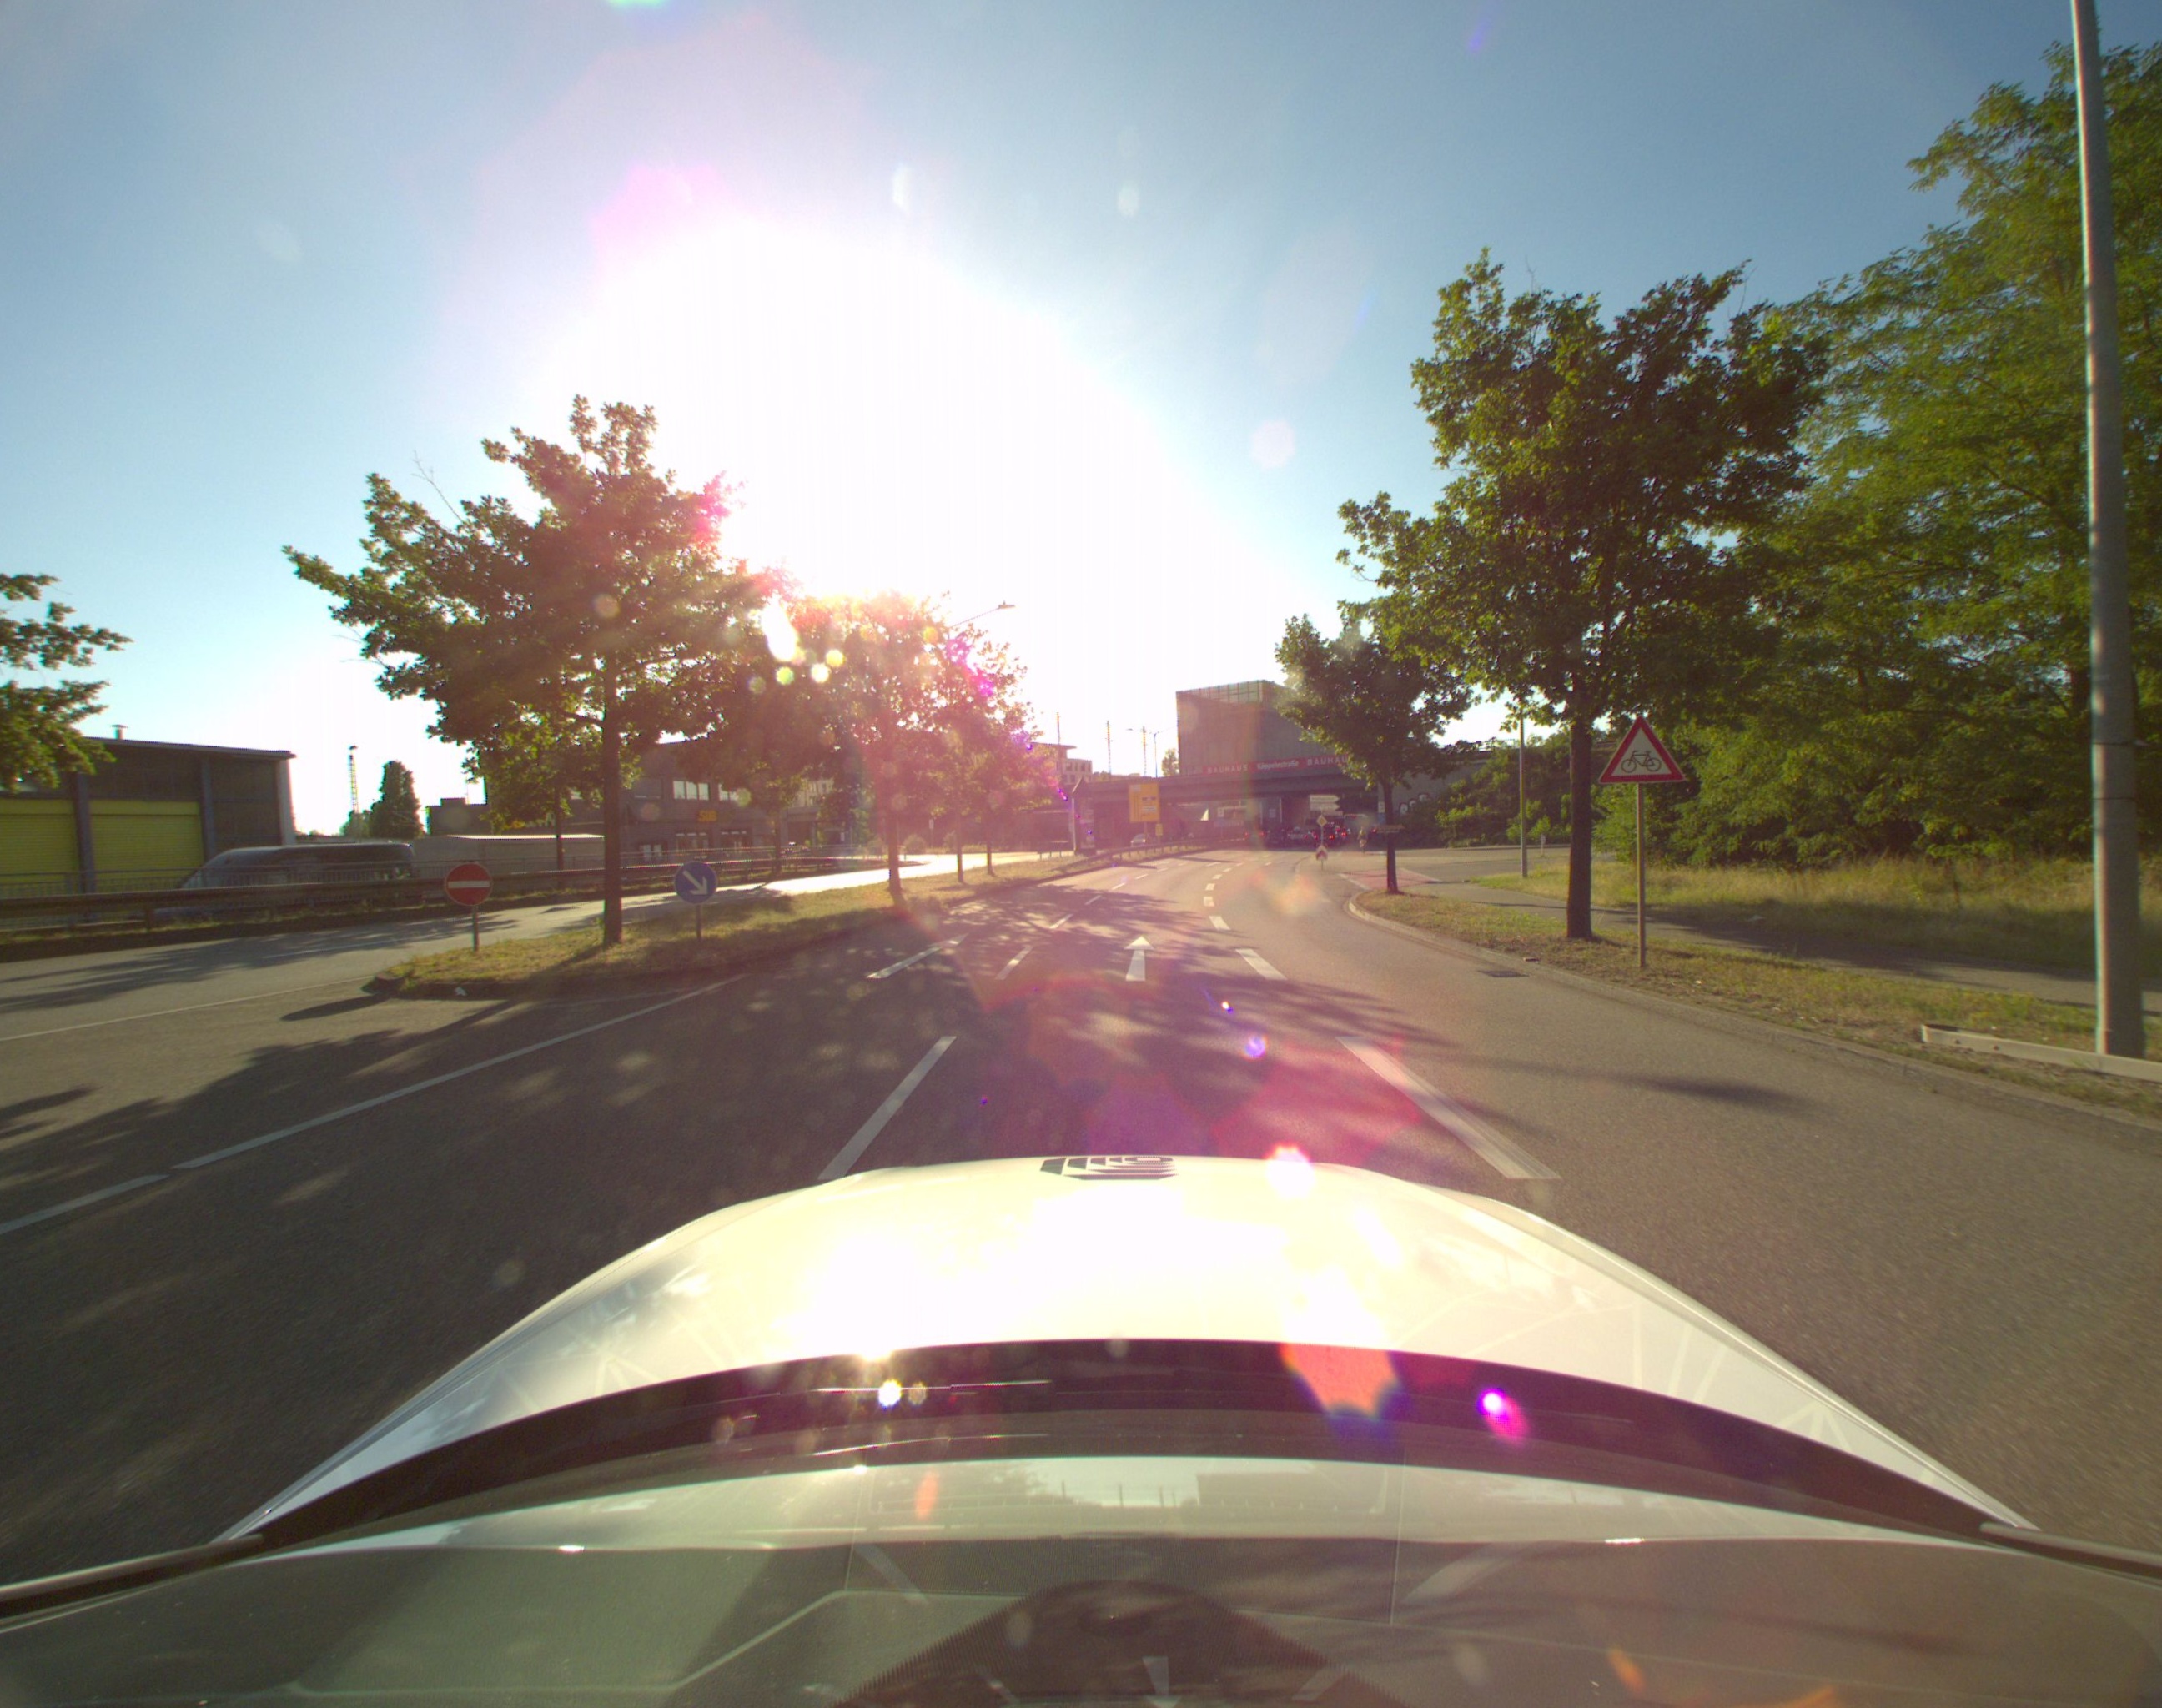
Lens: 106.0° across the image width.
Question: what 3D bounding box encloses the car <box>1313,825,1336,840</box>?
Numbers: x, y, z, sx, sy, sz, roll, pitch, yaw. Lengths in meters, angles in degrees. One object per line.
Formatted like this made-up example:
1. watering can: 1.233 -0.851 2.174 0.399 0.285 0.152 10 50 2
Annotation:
1. car: 26.357 -2.317 88.008 1.566 1.532 3.856 0 2 30

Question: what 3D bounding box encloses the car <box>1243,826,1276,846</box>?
1. car: 16.579 -1.664 75.483 1.812 1.738 4.489 -1 1 27

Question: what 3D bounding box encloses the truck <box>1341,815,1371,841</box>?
1. truck: 28.521 -2.697 84.334 2.091 2.519 4.428 -2 0 28

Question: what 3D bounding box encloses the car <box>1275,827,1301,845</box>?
1. car: 22.126 -1.921 86.944 1.824 1.719 4.023 -5 0 25

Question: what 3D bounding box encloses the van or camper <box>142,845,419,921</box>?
1. van or camper: -20.480 0.640 21.246 1.983 1.685 4.969 -1 1 6

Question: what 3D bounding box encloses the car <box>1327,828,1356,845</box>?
1. car: 24.764 -1.708 77.381 1.755 1.495 3.856 -2 1 29

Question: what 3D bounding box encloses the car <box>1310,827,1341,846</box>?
1. car: 21.232 -1.524 70.612 1.724 1.454 4.635 0 3 27

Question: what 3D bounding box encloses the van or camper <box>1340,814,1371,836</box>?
1. van or camper: 33.234 -3.486 98.420 1.974 2.570 5.956 -1 2 34

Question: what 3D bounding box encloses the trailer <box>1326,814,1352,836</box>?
1. trailer: 29.762 -3.328 93.891 1.846 2.464 3.857 -2 1 31

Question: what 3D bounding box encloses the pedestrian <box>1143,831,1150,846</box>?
1. pedestrian: 8.360 -1.973 103.836 0.687 1.903 0.669 -1 1 32

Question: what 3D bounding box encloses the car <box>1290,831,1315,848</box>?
1. car: 20.830 -1.400 76.526 1.533 1.423 3.438 -4 1 26

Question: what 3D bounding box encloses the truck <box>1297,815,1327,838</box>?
1. truck: 26.462 -3.130 93.180 2.008 2.556 5.573 -1 1 30

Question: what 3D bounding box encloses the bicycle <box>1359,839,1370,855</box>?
1. bicycle: 18.565 -0.451 53.311 0.574 0.963 2.900 -1 1 17

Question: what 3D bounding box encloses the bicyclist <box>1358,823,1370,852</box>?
1. bicyclist: 18.567 -1.072 53.386 0.676 1.906 0.837 -1 1 18

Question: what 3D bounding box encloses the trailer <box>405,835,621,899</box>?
1. trailer: -19.759 0.355 28.946 2.406 1.969 6.620 -1 1 7

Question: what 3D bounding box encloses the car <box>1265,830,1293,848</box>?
1. car: 17.141 -1.309 70.476 1.567 1.408 3.855 0 1 26

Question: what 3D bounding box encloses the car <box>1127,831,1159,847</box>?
1. car: 5.955 -1.431 78.123 1.724 1.462 3.788 -2 0 26
